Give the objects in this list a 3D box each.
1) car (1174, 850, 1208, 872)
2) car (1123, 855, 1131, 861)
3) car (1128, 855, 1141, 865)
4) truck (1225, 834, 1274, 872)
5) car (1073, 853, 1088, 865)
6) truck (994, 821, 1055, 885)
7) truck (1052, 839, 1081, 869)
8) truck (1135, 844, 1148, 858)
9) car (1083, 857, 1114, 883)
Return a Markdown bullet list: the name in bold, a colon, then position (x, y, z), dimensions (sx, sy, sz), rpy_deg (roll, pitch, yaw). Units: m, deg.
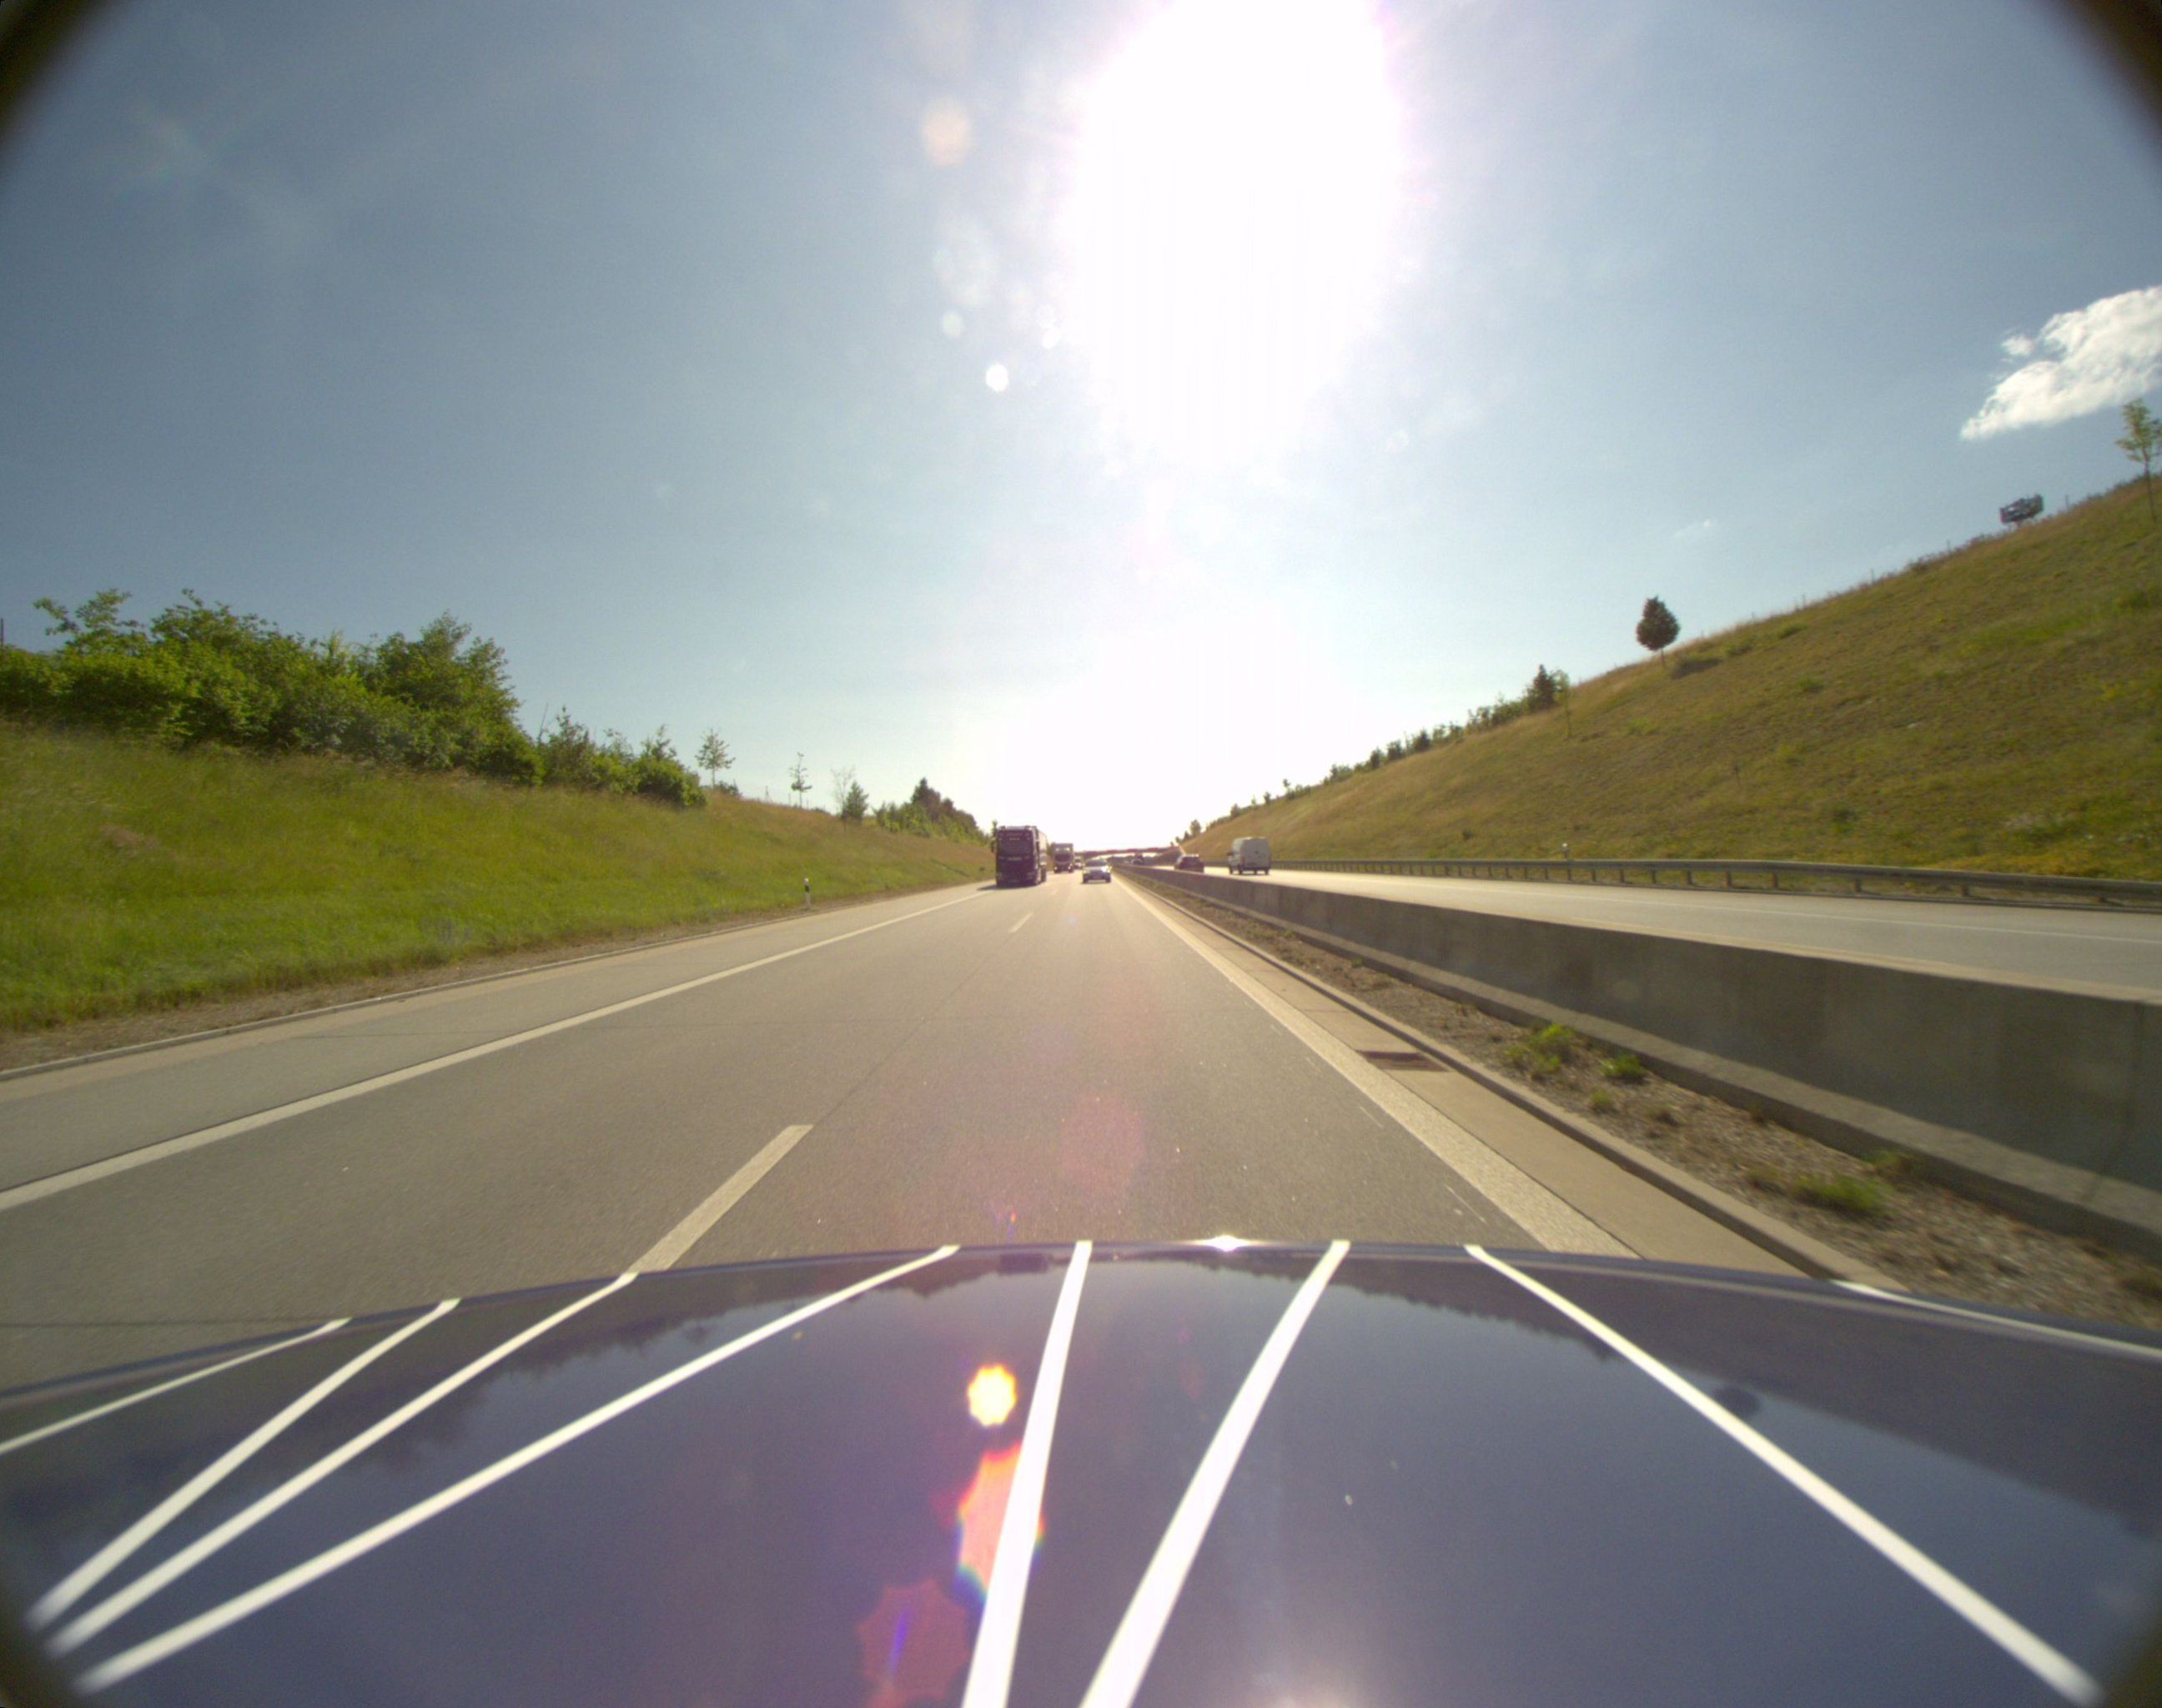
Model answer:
- **car**: position (8.063, 0.490, 55.961), dimensions (1.858, 1.453, 4.333), rpy_deg (-3, 0, 0)
- **car**: position (12.350, 1.101, 206.359), dimensions (1.858, 1.453, 4.728), rpy_deg (-3, 0, 0)
- **car**: position (8.737, 0.982, 124.018), dimensions (1.858, 1.453, 4.768), rpy_deg (-3, 0, 0)
- **truck**: position (11.885, -0.069, 54.054), dimensions (2.118, 2.446, 5.951), rpy_deg (-3, 0, 0)
- **car**: position (-0.104, 0.882, 143.332), dimensions (2.816, 2.143, 5.947), rpy_deg (-2, 0, 0)
- **truck**: position (-3.620, -0.063, 52.633), dimensions (2.623, 3.795, 13.405), rpy_deg (-2, 0, 2)
- **truck**: position (-1.894, 0.013, 104.514), dimensions (3.024, 3.795, 13.405), rpy_deg (-2, 0, 2)
- **truck**: position (17.378, -0.751, 219.893), dimensions (2.763, 3.918, 12.448), rpy_deg (-2, 0, 1)
- **car**: position (1.184, 1.050, 50.247), dimensions (1.795, 1.501, 3.636), rpy_deg (-4, 0, 3)
